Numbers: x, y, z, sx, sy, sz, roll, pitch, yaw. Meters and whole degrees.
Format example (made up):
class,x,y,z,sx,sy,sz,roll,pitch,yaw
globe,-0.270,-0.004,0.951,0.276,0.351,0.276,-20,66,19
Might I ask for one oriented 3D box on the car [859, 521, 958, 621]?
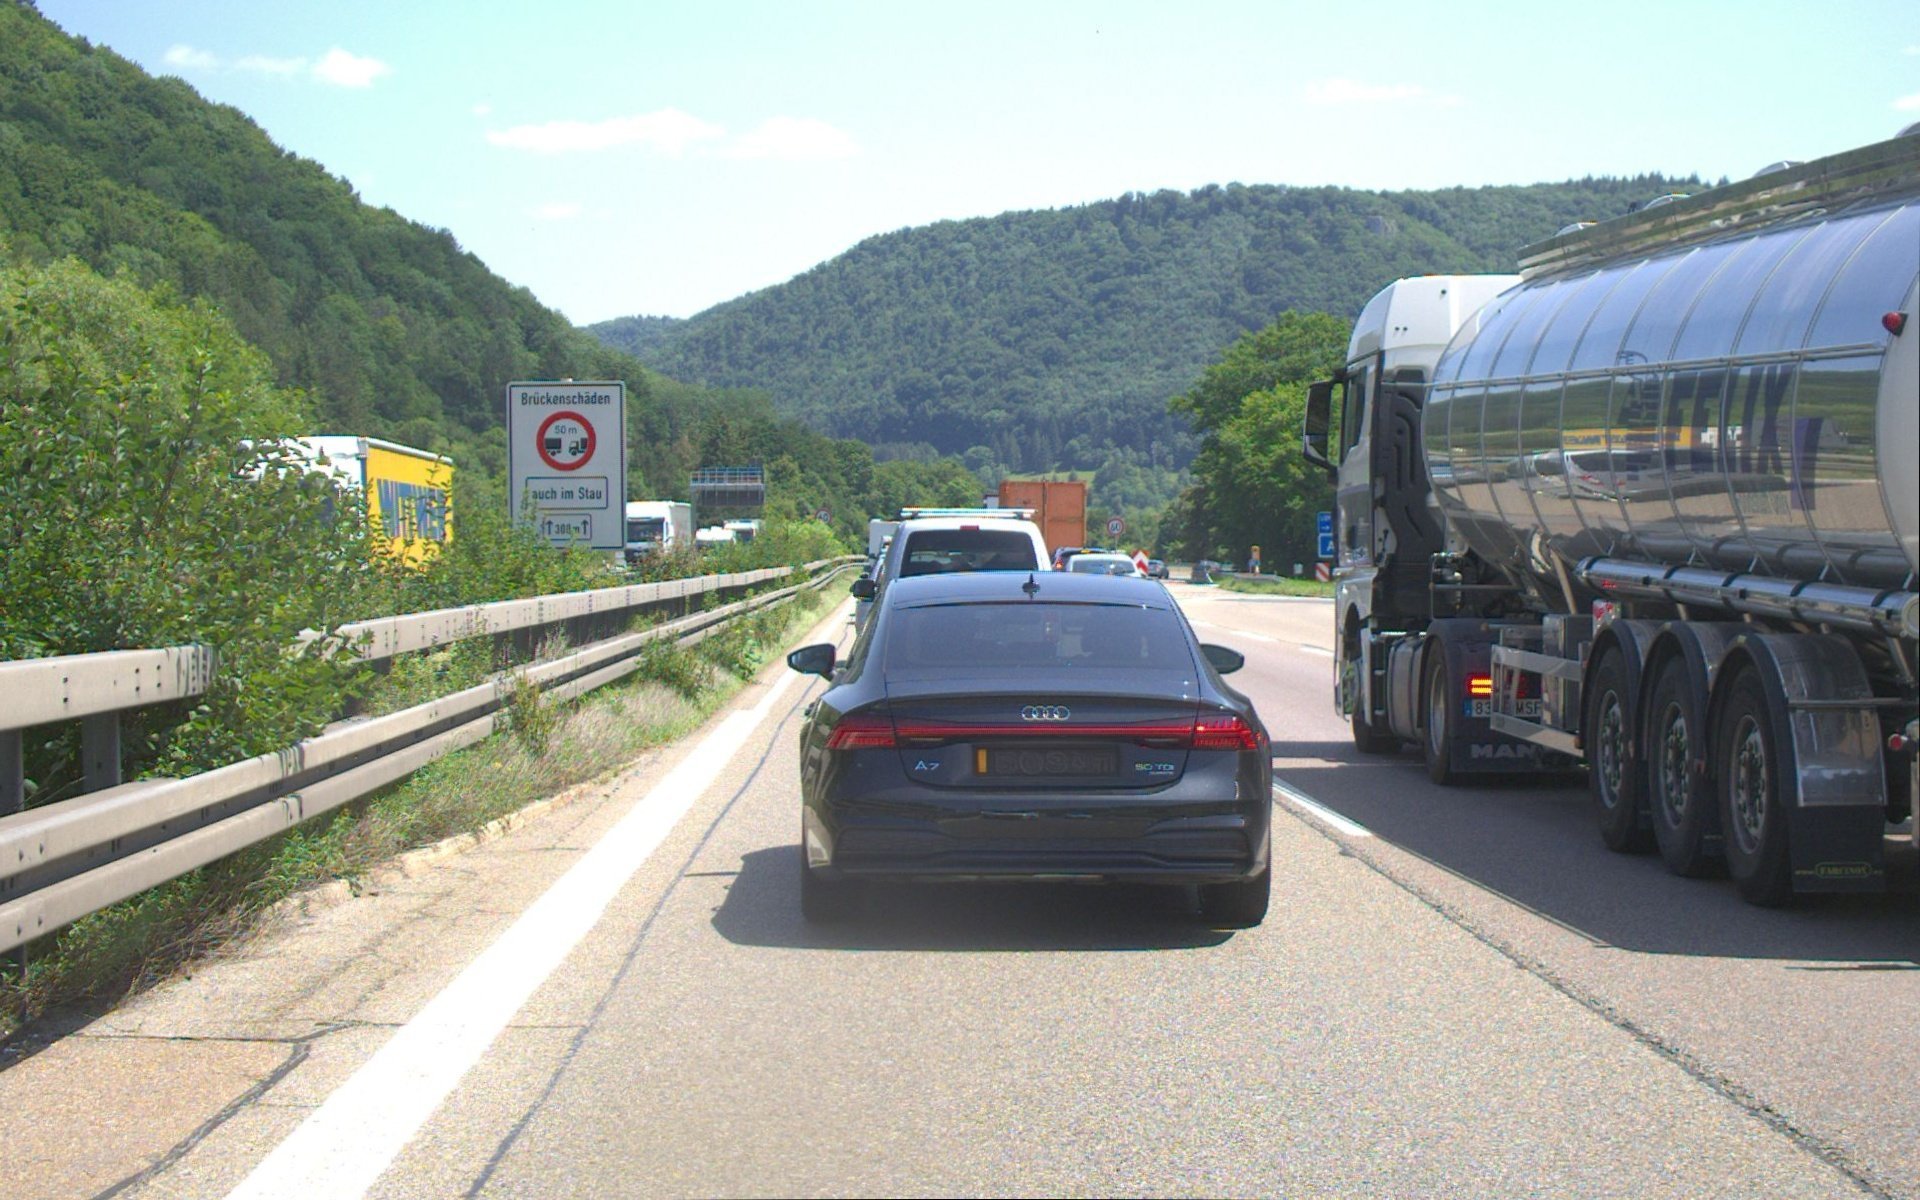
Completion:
class,x,y,z,sx,sy,sz,roll,pitch,yaw
car,-1.089,-0.616,71.654,1.993,2.007,4.000,0,1,-1

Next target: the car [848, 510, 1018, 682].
class,x,y,z,sx,sy,sz,roll,pitch,yaw
car,-0.351,-0.082,42.420,1.993,2.007,4.000,0,1,-1

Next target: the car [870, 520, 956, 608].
class,x,y,z,sx,sy,sz,roll,pitch,yaw
car,-1.135,-0.863,81.566,1.993,2.007,4.000,0,1,-1

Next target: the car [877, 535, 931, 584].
class,x,y,z,sx,sy,sz,roll,pitch,yaw
car,-1.874,-1.375,115.832,1.712,1.613,4.000,0,1,0

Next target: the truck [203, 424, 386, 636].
class,x,y,z,sx,sy,sz,roll,pitch,yaw
truck,-13.322,-1.399,69.236,2.547,4.076,5.850,0,1,0

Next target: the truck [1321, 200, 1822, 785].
class,x,y,z,sx,sy,sz,roll,pitch,yaw
truck,4.215,-0.728,24.766,2.511,3.745,5.246,0,1,-1

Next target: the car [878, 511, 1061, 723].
class,x,y,z,sx,sy,sz,roll,pitch,yaw
car,0.048,0.117,31.814,1.575,1.827,4.000,0,1,-1

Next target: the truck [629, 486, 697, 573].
class,x,y,z,sx,sy,sz,roll,pitch,yaw
truck,-13.899,-3.297,161.351,2.728,3.988,5.370,-1,1,-1

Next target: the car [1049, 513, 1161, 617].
class,x,y,z,sx,sy,sz,roll,pitch,yaw
car,2.877,-0.714,68.942,1.993,2.007,4.000,-1,1,-1

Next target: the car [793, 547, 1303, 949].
class,x,y,z,sx,sy,sz,roll,pitch,yaw
car,0.232,0.521,14.806,1.849,1.483,4.083,0,1,-3

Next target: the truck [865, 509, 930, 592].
class,x,y,z,sx,sy,sz,roll,pitch,yaw
truck,-2.630,-2.127,147.992,2.628,3.429,11.421,0,1,0

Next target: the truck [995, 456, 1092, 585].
class,x,y,z,sx,sy,sz,roll,pitch,yaw
truck,2.670,-2.595,114.682,2.817,3.989,14.956,0,1,0

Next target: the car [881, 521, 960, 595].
class,x,y,z,sx,sy,sz,roll,pitch,yaw
car,-0.881,-0.962,77.919,1.712,1.613,4.000,0,1,0

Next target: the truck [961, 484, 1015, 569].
class,x,y,z,sx,sy,sz,roll,pitch,yaw
truck,1.133,-3.056,144.459,1.993,3.435,11.812,0,1,-1

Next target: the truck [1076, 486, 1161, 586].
class,x,y,z,sx,sy,sz,roll,pitch,yaw
truck,6.604,-2.679,145.072,2.817,3.989,14.956,0,1,0

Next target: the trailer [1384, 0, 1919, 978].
class,x,y,z,sx,sy,sz,roll,pitch,yaw
trailer,4.407,-0.605,18.146,2.538,3.722,11.892,0,1,-1
